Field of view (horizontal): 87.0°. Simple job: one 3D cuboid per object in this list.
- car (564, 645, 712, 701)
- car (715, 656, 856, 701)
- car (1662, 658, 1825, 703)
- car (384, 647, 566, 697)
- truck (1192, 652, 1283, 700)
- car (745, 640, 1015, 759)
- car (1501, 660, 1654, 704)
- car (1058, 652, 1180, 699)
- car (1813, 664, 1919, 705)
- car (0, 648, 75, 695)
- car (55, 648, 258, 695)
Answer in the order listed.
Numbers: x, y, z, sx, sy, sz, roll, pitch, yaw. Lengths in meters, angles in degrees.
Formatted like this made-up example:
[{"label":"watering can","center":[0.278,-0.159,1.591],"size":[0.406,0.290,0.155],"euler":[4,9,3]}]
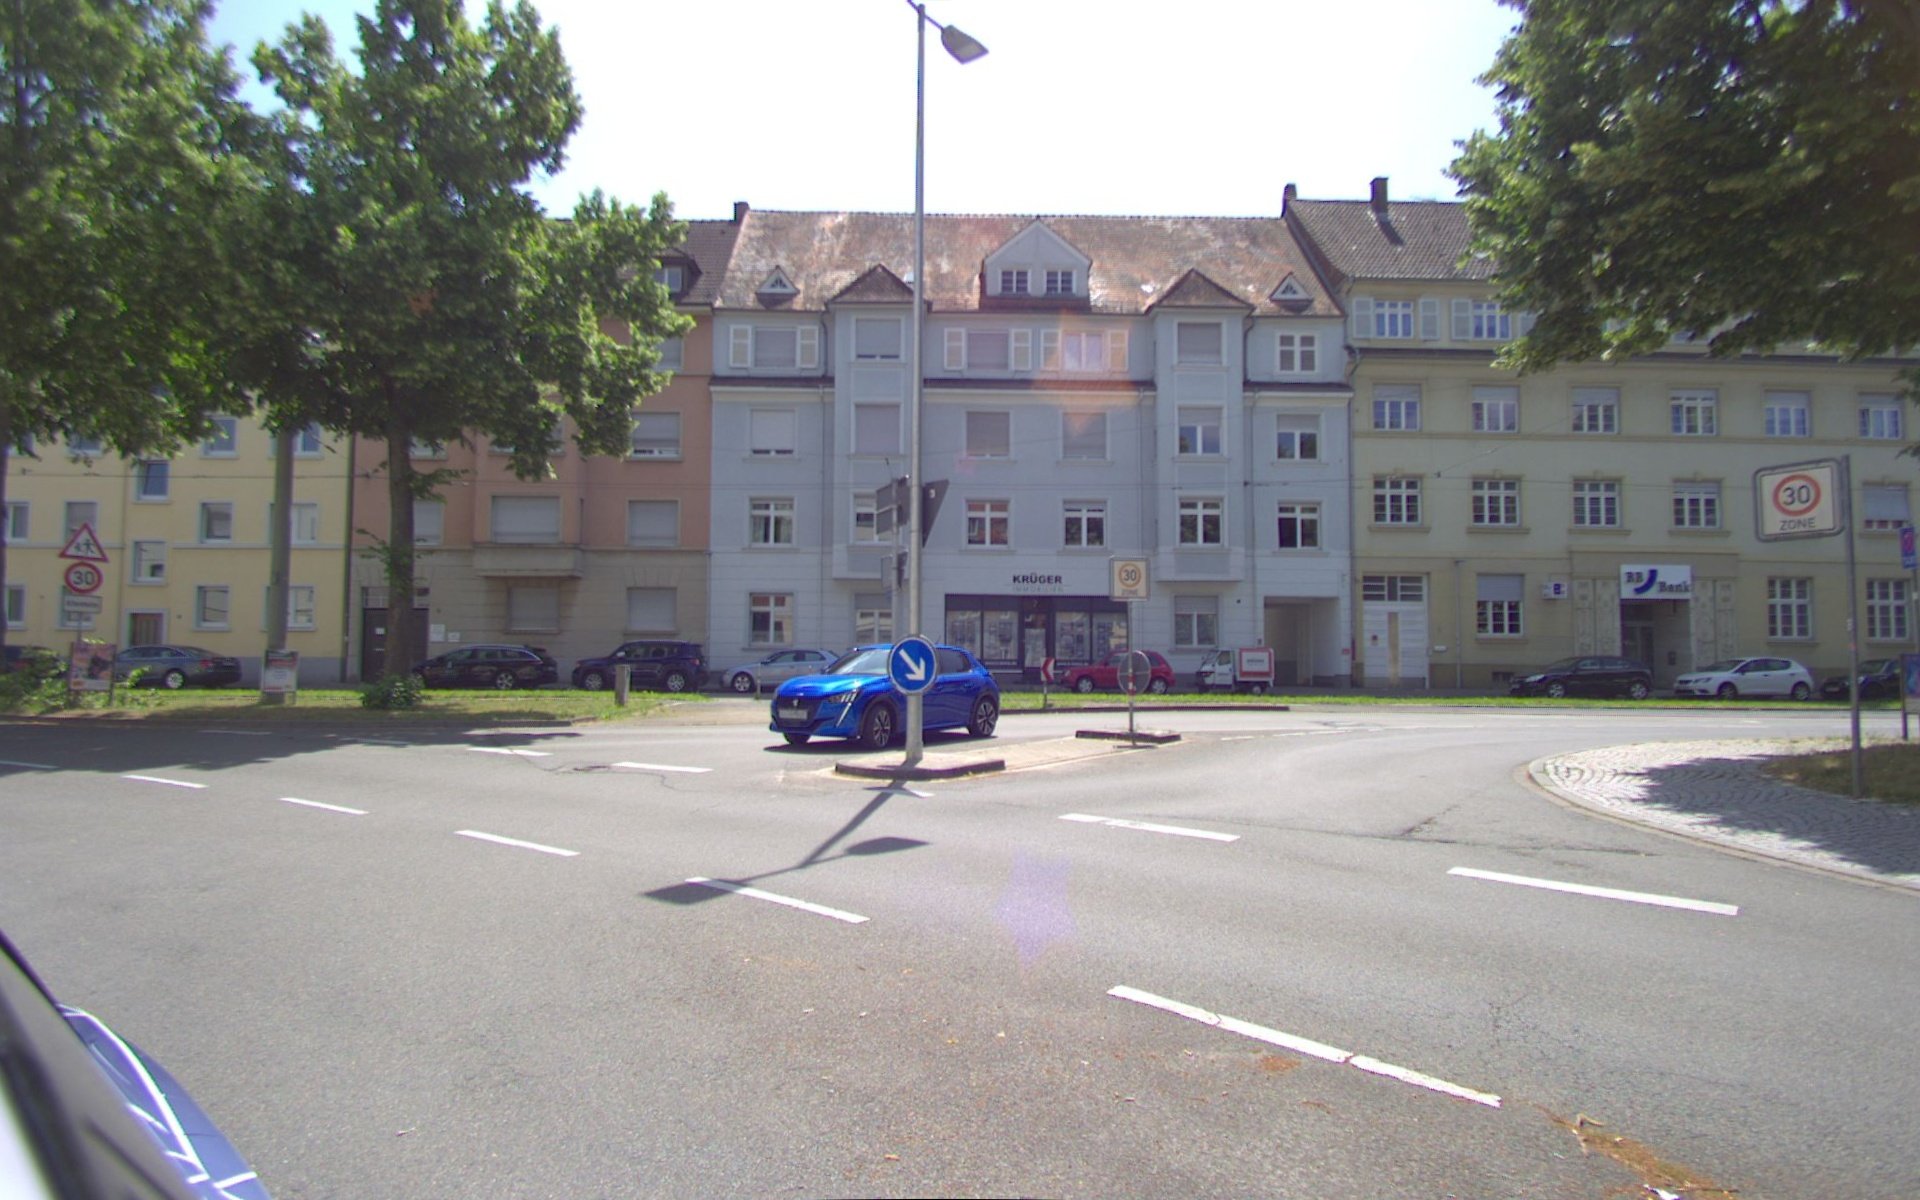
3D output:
[{"label":"car","center":[-10.156,2.343,32.138],"size":[4.083,1.699,1.842],"euler":[0,-5,-1]},{"label":"car","center":[-5.484,2.512,32.228],"size":[4.189,1.367,1.813],"euler":[0,-5,-1]},{"label":"car","center":[25.115,2.611,32.531],"size":[3.802,1.401,1.692],"euler":[0,-5,-1]},{"label":"car","center":[-15.222,2.294,31.957],"size":[4.793,1.502,1.934],"euler":[0,-5,-1]},{"label":"truck","center":[8.897,2.473,32.595],"size":[2.556,1.506,1.130],"euler":[0,-6,-2]},{"label":"car","center":[-1.048,1.364,14.988],"size":[1.813,1.503,3.948],"euler":[-2,-4,38]},{"label":"car","center":[19.801,2.644,32.541],"size":[3.802,1.371,1.692],"euler":[0,-5,-1]},{"label":"car","center":[5.027,2.425,32.317],"size":[3.574,1.462,1.576],"euler":[0,-5,-1]},{"label":"car","center":[29.971,2.746,32.726],"size":[3.241,1.288,1.692],"euler":[0,-5,-1]},{"label":"car","center":[-30.706,2.259,31.822],"size":[4.083,1.411,1.837],"euler":[0,-5,-1]},{"label":"car","center":[-25.160,2.274,31.813],"size":[4.795,1.409,1.933],"euler":[0,-5,0]}]
